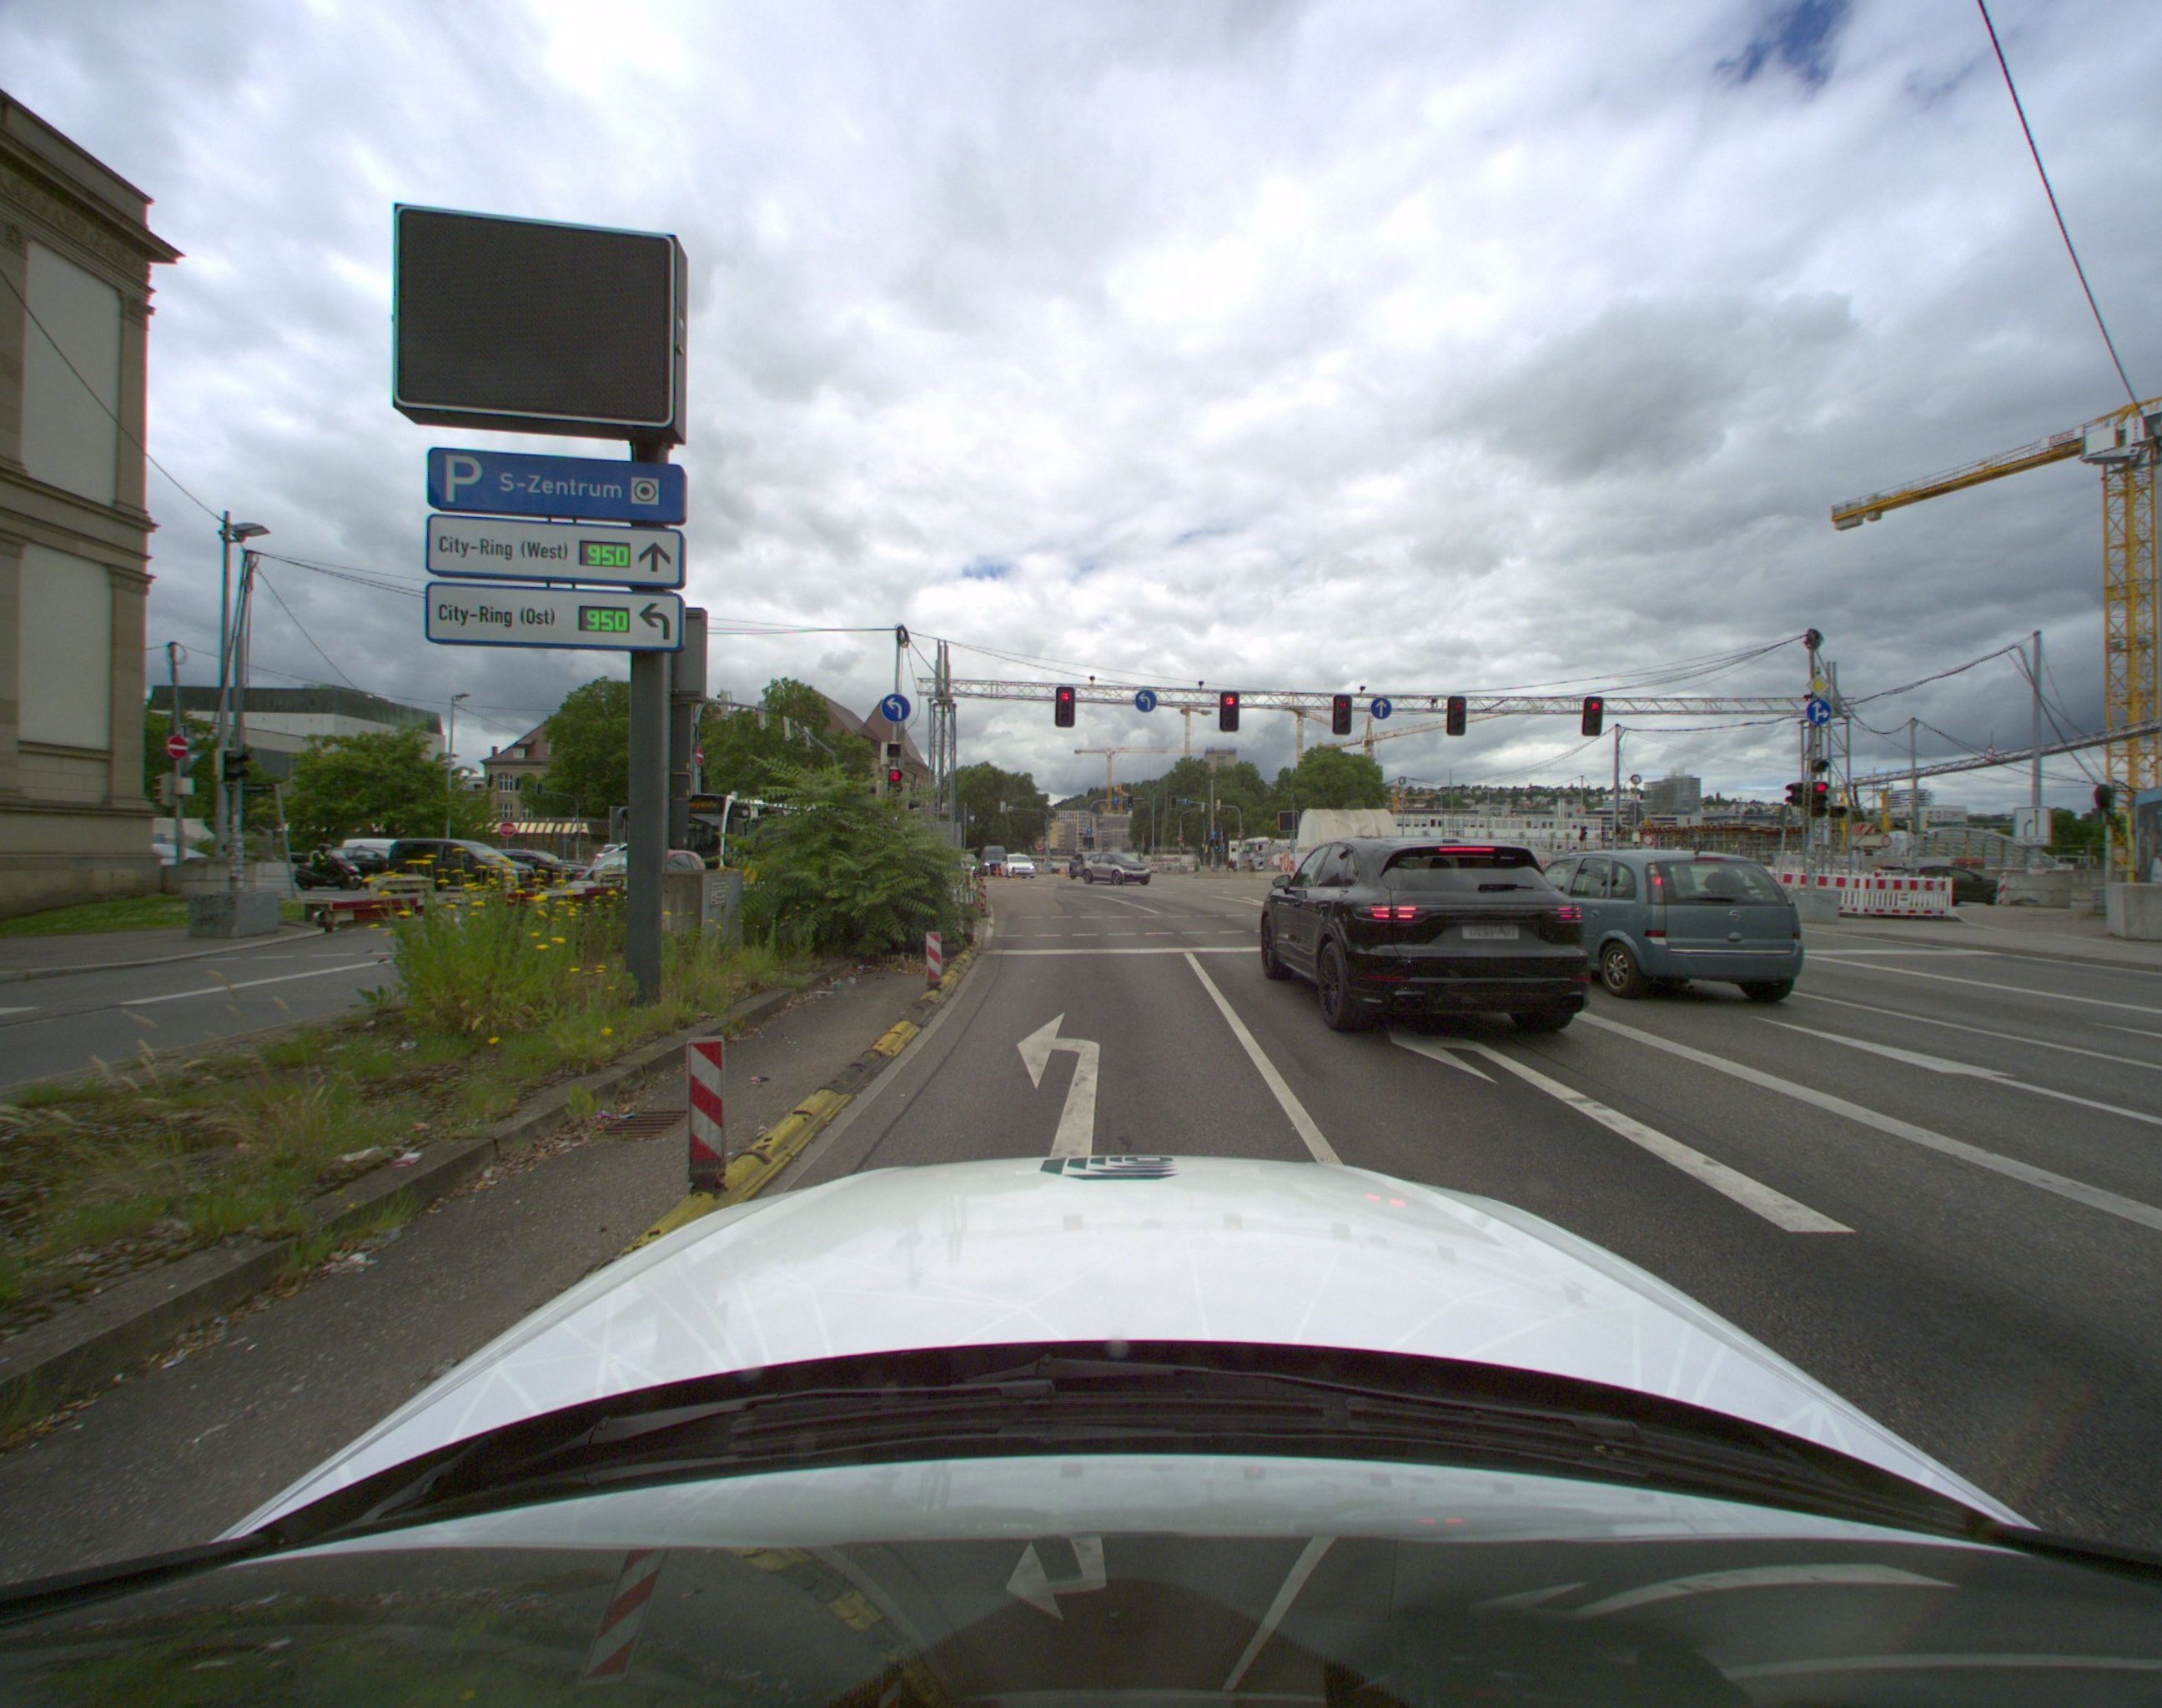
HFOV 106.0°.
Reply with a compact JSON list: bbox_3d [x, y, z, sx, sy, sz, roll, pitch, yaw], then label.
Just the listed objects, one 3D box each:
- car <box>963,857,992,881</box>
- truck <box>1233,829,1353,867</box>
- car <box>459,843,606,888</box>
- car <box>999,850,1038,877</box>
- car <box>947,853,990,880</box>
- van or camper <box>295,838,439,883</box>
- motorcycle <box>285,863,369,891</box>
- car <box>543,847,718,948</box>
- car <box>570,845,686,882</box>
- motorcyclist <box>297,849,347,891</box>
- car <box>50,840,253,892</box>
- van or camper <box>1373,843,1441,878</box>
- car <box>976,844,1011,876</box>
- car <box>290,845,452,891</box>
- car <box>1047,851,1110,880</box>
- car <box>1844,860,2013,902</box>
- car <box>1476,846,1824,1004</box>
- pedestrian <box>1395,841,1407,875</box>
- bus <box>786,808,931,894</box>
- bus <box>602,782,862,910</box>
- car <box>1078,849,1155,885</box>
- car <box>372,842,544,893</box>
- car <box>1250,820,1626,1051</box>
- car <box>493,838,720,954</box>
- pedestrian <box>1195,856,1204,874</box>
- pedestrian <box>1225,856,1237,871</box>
[{"bbox_3d":[-7.842,1.098,61.363,1.879,1.670,4.427,0,0,-11],"label":"car"},{"bbox_3d":[23.576,-0.667,90.548,13.067,4.041,3.925,0,0,-20],"label":"truck"},{"bbox_3d":[-21.323,0.448,31.807,4.304,1.676,1.997,0,0,-4],"label":"car"},{"bbox_3d":[-4.186,0.611,54.086,1.881,1.736,4.423,0,0,-14],"label":"car"},{"bbox_3d":[-6.384,0.669,46.614,1.872,1.472,4.444,0,0,0],"label":"car"},{"bbox_3d":[-31.498,0.286,36.095,4.323,1.879,1.988,0,0,-18],"label":"van or camper"},{"bbox_3d":[-25.687,0.773,27.761,2.052,0.924,0.756,0,0,-5],"label":"motorcycle"},{"bbox_3d":[-7.654,0.675,14.124,1.531,1.551,2.821,-1,0,-2],"label":"car"},{"bbox_3d":[-20.981,0.429,37.917,4.316,1.676,1.991,0,0,-13],"label":"car"},{"bbox_3d":[-25.832,0.537,27.743,0.963,1.423,0.745,0,0,-5],"label":"motorcyclist"},{"bbox_3d":[-31.373,0.385,27.614,4.304,1.676,1.997,0,0,-4],"label":"car"},{"bbox_3d":[22.373,0.459,56.089,4.182,2.357,2.008,0,0,15],"label":"van or camper"},{"bbox_3d":[-7.454,0.466,68.672,2.060,2.594,5.984,0,0,-15],"label":"car"},{"bbox_3d":[-27.197,0.524,31.336,4.304,1.676,1.997,0,0,-4],"label":"car"},{"bbox_3d":[-0.232,0.638,49.406,1.889,1.670,4.567,0,0,-29],"label":"car"},{"bbox_3d":[31.094,0.954,30.006,3.964,1.420,2.005,0,0,8],"label":"car"},{"bbox_3d":[6.562,0.697,9.985,1.657,1.543,3.883,0,0,2],"label":"car"},{"bbox_3d":[19.565,0.239,49.780,0.645,2.013,0.520,0,0,25],"label":"pedestrian"},{"bbox_3d":[-8.969,-0.124,34.262,2.832,3.114,9.135,0,0,5],"label":"bus"},{"bbox_3d":[-9.913,-0.207,24.866,2.831,3.114,9.765,0,0,6],"label":"bus"},{"bbox_3d":[1.695,0.610,40.086,1.807,1.668,4.024,0,0,-33],"label":"car"},{"bbox_3d":[-21.519,0.457,28.288,4.304,1.676,1.997,0,0,-4],"label":"car"},{"bbox_3d":[3.117,0.597,8.341,1.948,1.686,4.636,0,0,2],"label":"car"},{"bbox_3d":[-7.518,0.585,13.385,1.660,1.591,3.875,-1,0,-4],"label":"car"},{"bbox_3d":[11.074,1.056,75.961,0.727,1.689,0.678,0,0,0],"label":"pedestrian"},{"bbox_3d":[13.235,0.829,71.662,0.796,1.378,0.902,0,0,-9],"label":"pedestrian"}]
